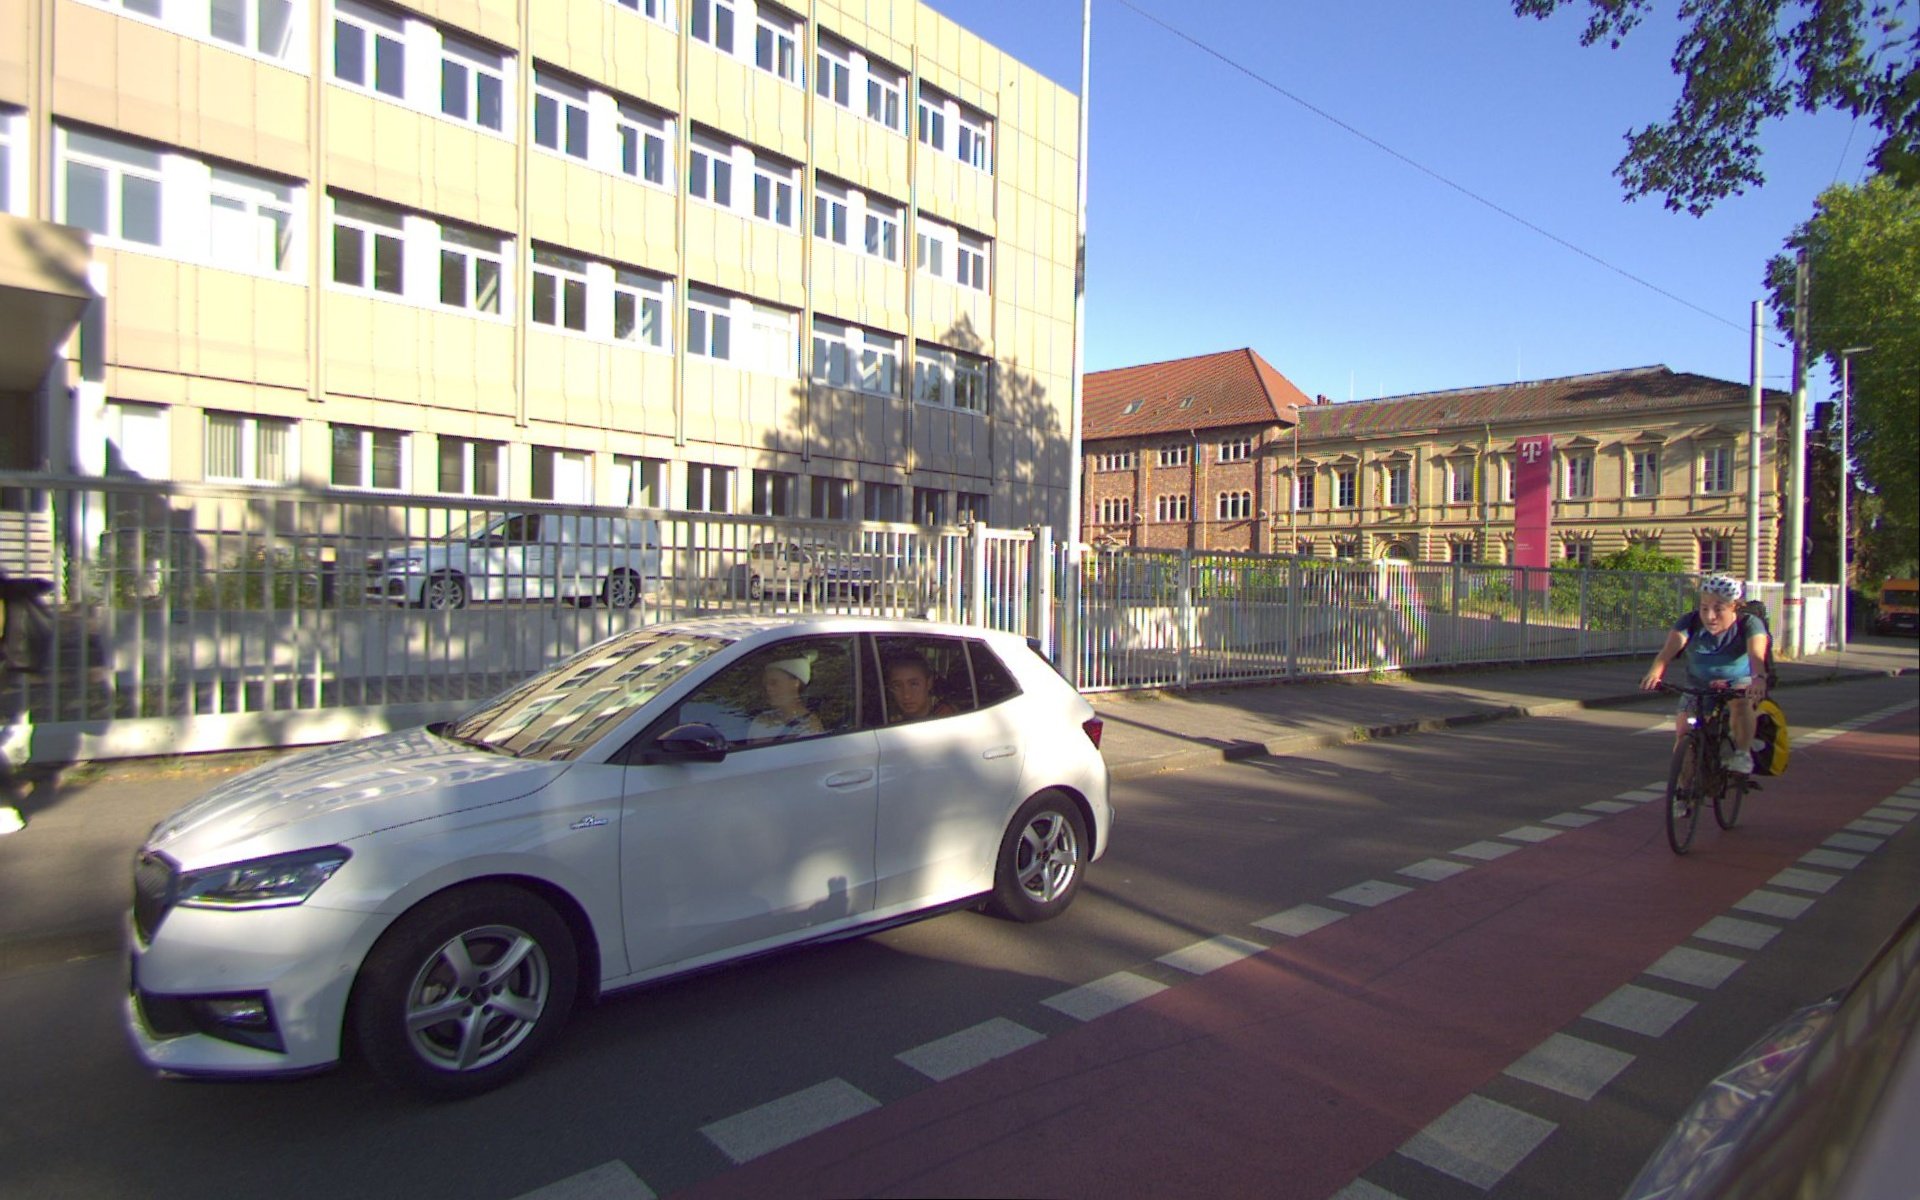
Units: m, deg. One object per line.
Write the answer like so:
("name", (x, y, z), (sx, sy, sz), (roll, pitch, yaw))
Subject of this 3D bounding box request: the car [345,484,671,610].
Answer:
("car", (-7.588, -0.826, 17.328), (1.994, 1.865, 4.709), (2, 2, 44))

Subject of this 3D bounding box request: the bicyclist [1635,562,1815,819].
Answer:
("bicyclist", (4.713, 0.503, 6.232), (0.844, 1.440, 0.727), (0, 0, -41))

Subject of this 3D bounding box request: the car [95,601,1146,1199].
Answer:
("car", (-1.104, 0.724, 4.399), (4.005, 1.406, 1.703), (0, 0, -42))

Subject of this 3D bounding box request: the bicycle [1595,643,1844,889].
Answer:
("bicycle", (4.762, 0.902, 6.272), (2.266, 1.158, 0.764), (0, 1, -41))

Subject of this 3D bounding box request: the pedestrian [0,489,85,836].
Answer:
("pedestrian", (-5.180, 0.316, 5.397), (0.757, 1.784, 0.592), (0, 1, -41))

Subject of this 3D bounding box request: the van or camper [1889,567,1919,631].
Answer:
("van or camper", (41.140, -0.061, 43.237), (1.994, 2.626, 5.537), (0, 0, 44))

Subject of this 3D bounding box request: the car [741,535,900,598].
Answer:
("car", (-3.926, -0.926, 27.992), (4.563, 1.601, 1.968), (2, 2, 44))
